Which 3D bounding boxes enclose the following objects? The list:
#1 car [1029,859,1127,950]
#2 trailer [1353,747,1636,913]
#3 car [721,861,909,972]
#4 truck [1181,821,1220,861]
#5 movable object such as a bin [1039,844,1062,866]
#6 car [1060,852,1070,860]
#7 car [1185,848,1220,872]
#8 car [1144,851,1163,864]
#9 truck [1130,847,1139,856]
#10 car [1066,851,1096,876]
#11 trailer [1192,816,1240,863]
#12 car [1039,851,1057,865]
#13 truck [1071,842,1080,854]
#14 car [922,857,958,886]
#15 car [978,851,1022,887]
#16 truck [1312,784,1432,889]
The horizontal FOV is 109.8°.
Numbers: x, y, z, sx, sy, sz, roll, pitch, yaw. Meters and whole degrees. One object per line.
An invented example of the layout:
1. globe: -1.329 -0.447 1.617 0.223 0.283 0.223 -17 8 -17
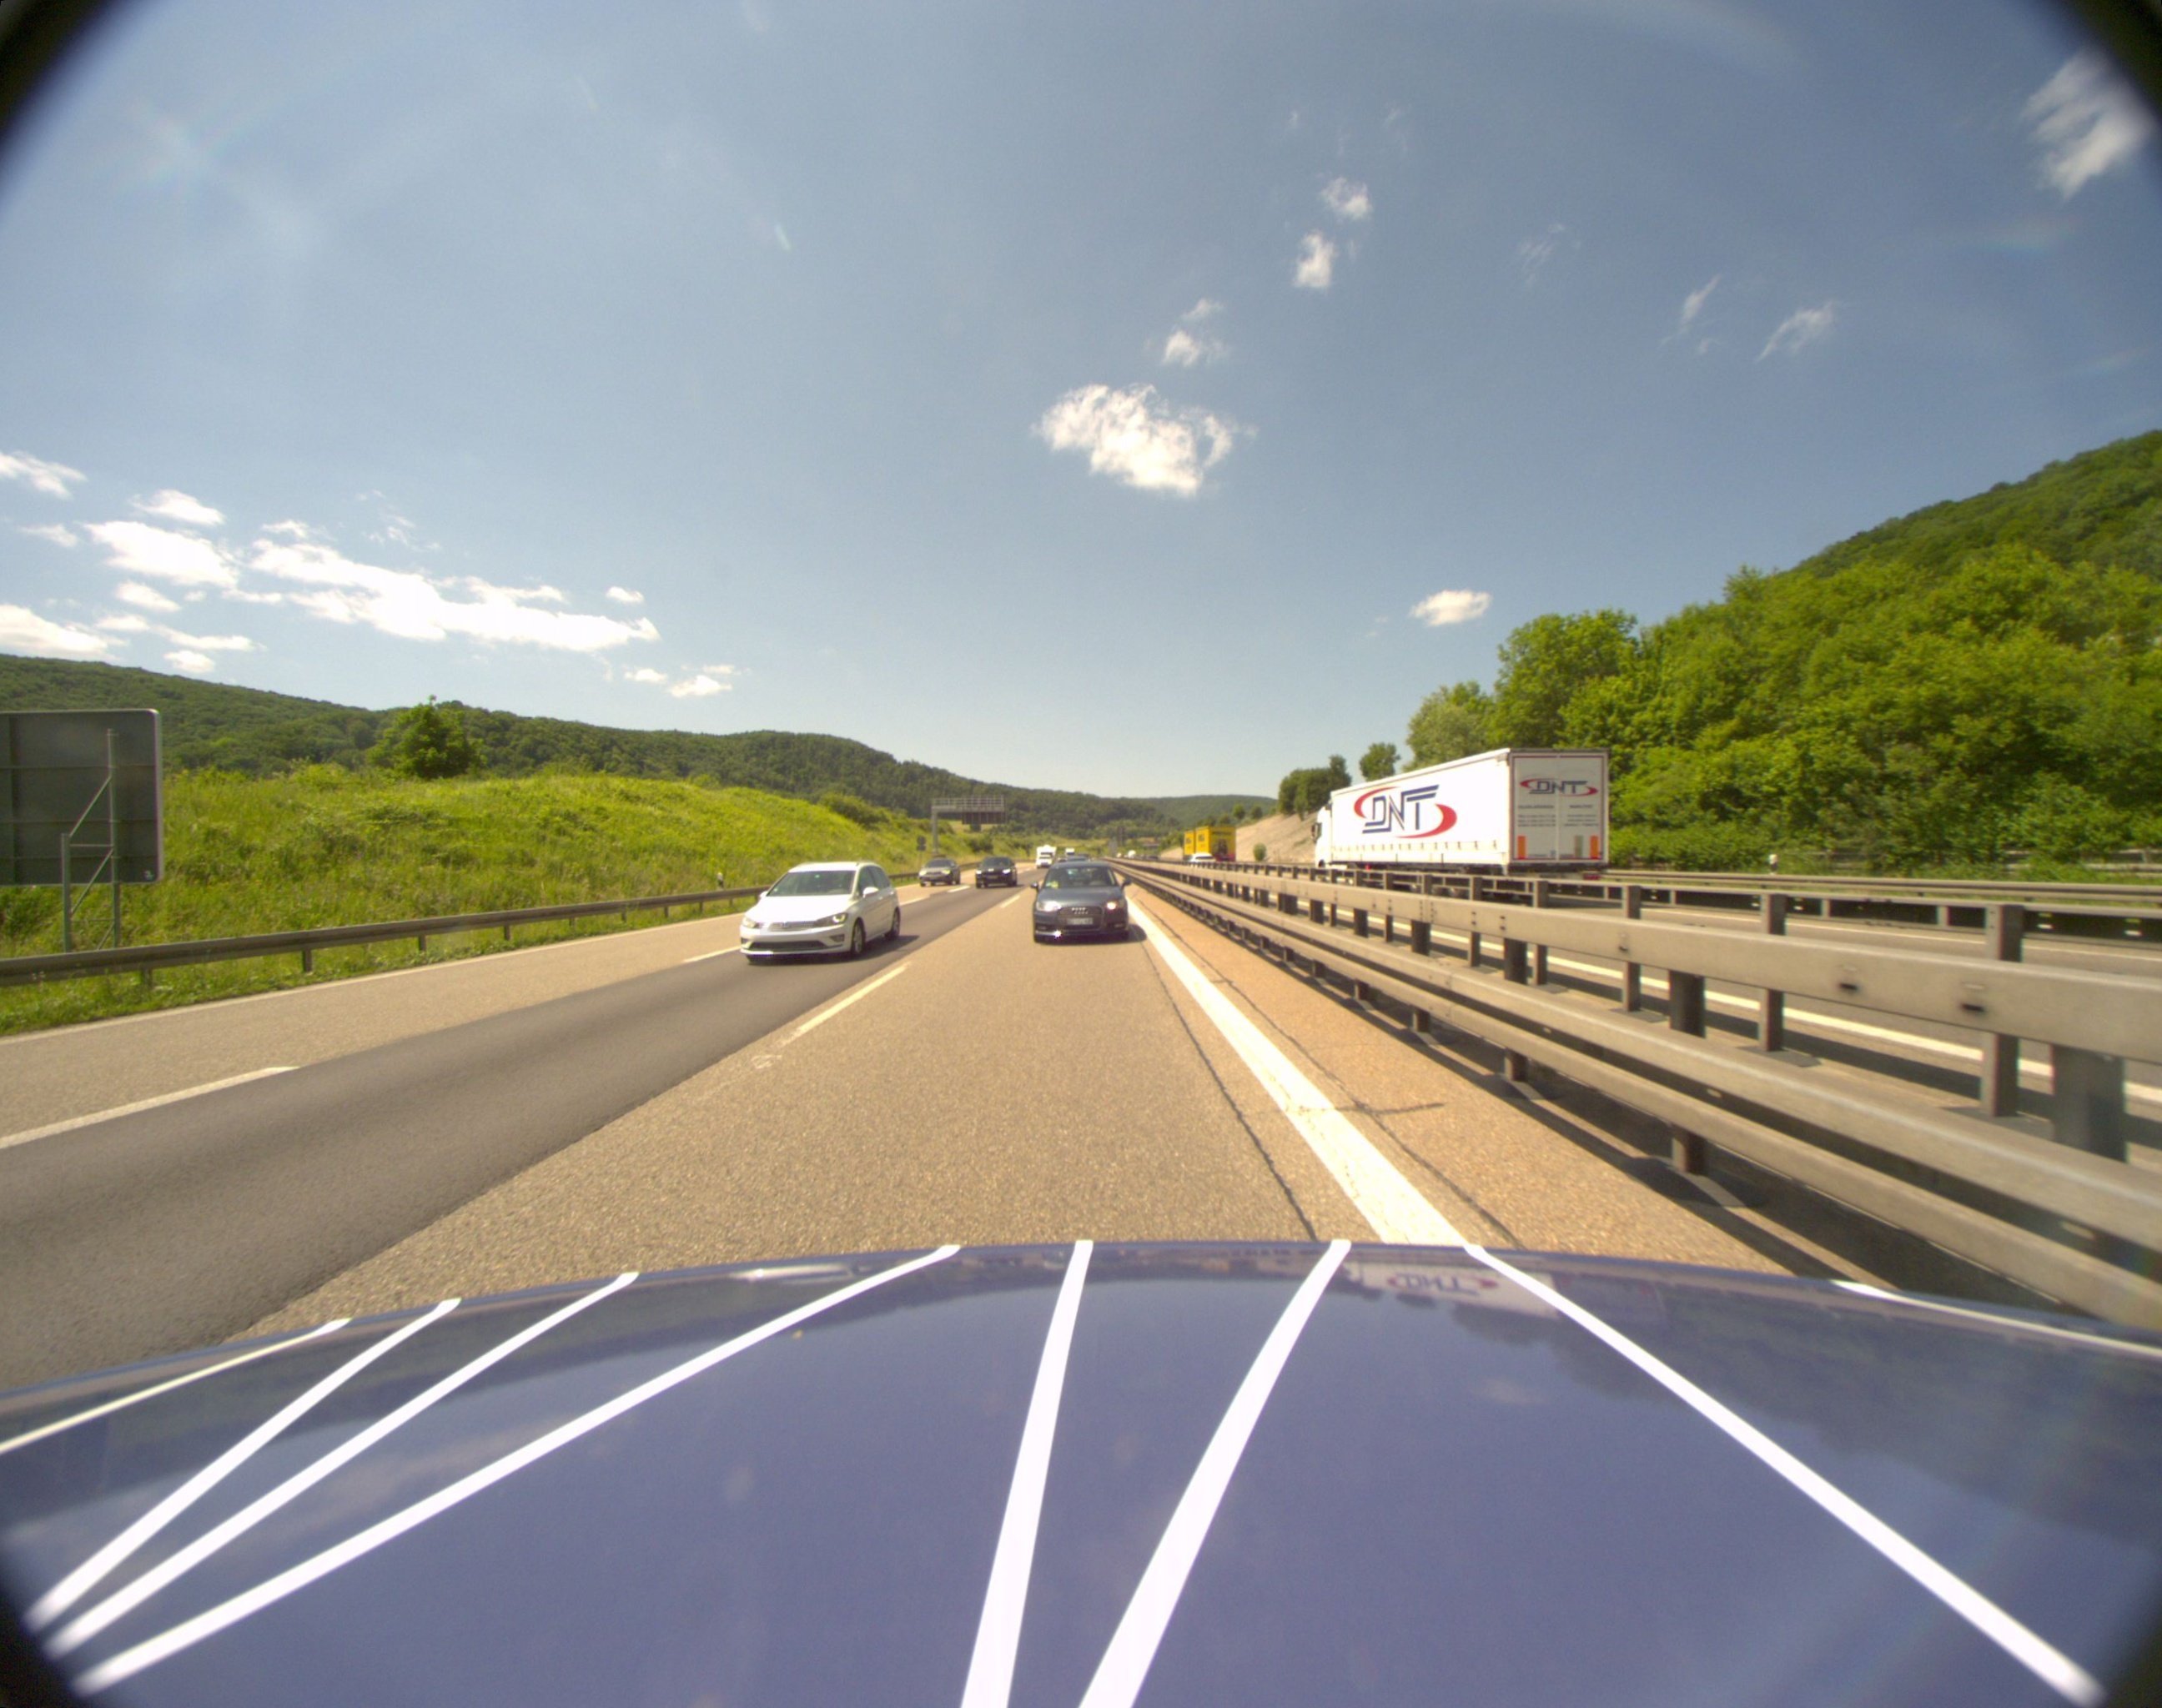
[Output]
1. car: -0.033 0.860 14.684 1.591 1.402 4.000 -2 0 0
2. trailer: 12.124 -0.631 24.201 2.863 4.052 11.262 0 0 0
3. car: -4.417 0.952 13.338 1.777 1.532 4.054 -2 0 1
4. truck: 13.048 -1.399 83.659 2.834 4.123 9.614 -2 0 1
5. movable object such as a bin: -3.853 0.132 98.508 2.481 2.616 6.708 -2 0 1
6. car: -3.026 0.410 145.576 1.711 1.542 4.000 -1 0 1
7. car: 8.208 0.403 51.664 1.751 1.510 4.000 -2 0 1
8. car: 8.814 0.397 92.941 1.850 1.586 4.751 -1 0 0
9. truck: 18.600 -0.787 264.045 2.617 3.035 10.990 -2 0 2
10. car: 0.049 0.590 49.524 1.835 1.586 4.000 -1 0 2
11. trailer: 12.891 -1.323 73.688 2.834 4.123 10.404 -2 0 1
12. car: -3.917 0.492 91.235 1.821 1.574 4.000 -1 0 1
13. truck: -1.720 -1.825 232.558 2.336 3.623 7.005 -2 1 1
14. car: -8.478 1.001 45.933 1.684 1.585 4.246 -2 0 -5
15. car: -4.228 0.763 40.125 1.894 1.762 4.170 -1 0 -1
16. truck: 12.191 -0.706 32.477 2.916 4.078 5.847 0 1 1
